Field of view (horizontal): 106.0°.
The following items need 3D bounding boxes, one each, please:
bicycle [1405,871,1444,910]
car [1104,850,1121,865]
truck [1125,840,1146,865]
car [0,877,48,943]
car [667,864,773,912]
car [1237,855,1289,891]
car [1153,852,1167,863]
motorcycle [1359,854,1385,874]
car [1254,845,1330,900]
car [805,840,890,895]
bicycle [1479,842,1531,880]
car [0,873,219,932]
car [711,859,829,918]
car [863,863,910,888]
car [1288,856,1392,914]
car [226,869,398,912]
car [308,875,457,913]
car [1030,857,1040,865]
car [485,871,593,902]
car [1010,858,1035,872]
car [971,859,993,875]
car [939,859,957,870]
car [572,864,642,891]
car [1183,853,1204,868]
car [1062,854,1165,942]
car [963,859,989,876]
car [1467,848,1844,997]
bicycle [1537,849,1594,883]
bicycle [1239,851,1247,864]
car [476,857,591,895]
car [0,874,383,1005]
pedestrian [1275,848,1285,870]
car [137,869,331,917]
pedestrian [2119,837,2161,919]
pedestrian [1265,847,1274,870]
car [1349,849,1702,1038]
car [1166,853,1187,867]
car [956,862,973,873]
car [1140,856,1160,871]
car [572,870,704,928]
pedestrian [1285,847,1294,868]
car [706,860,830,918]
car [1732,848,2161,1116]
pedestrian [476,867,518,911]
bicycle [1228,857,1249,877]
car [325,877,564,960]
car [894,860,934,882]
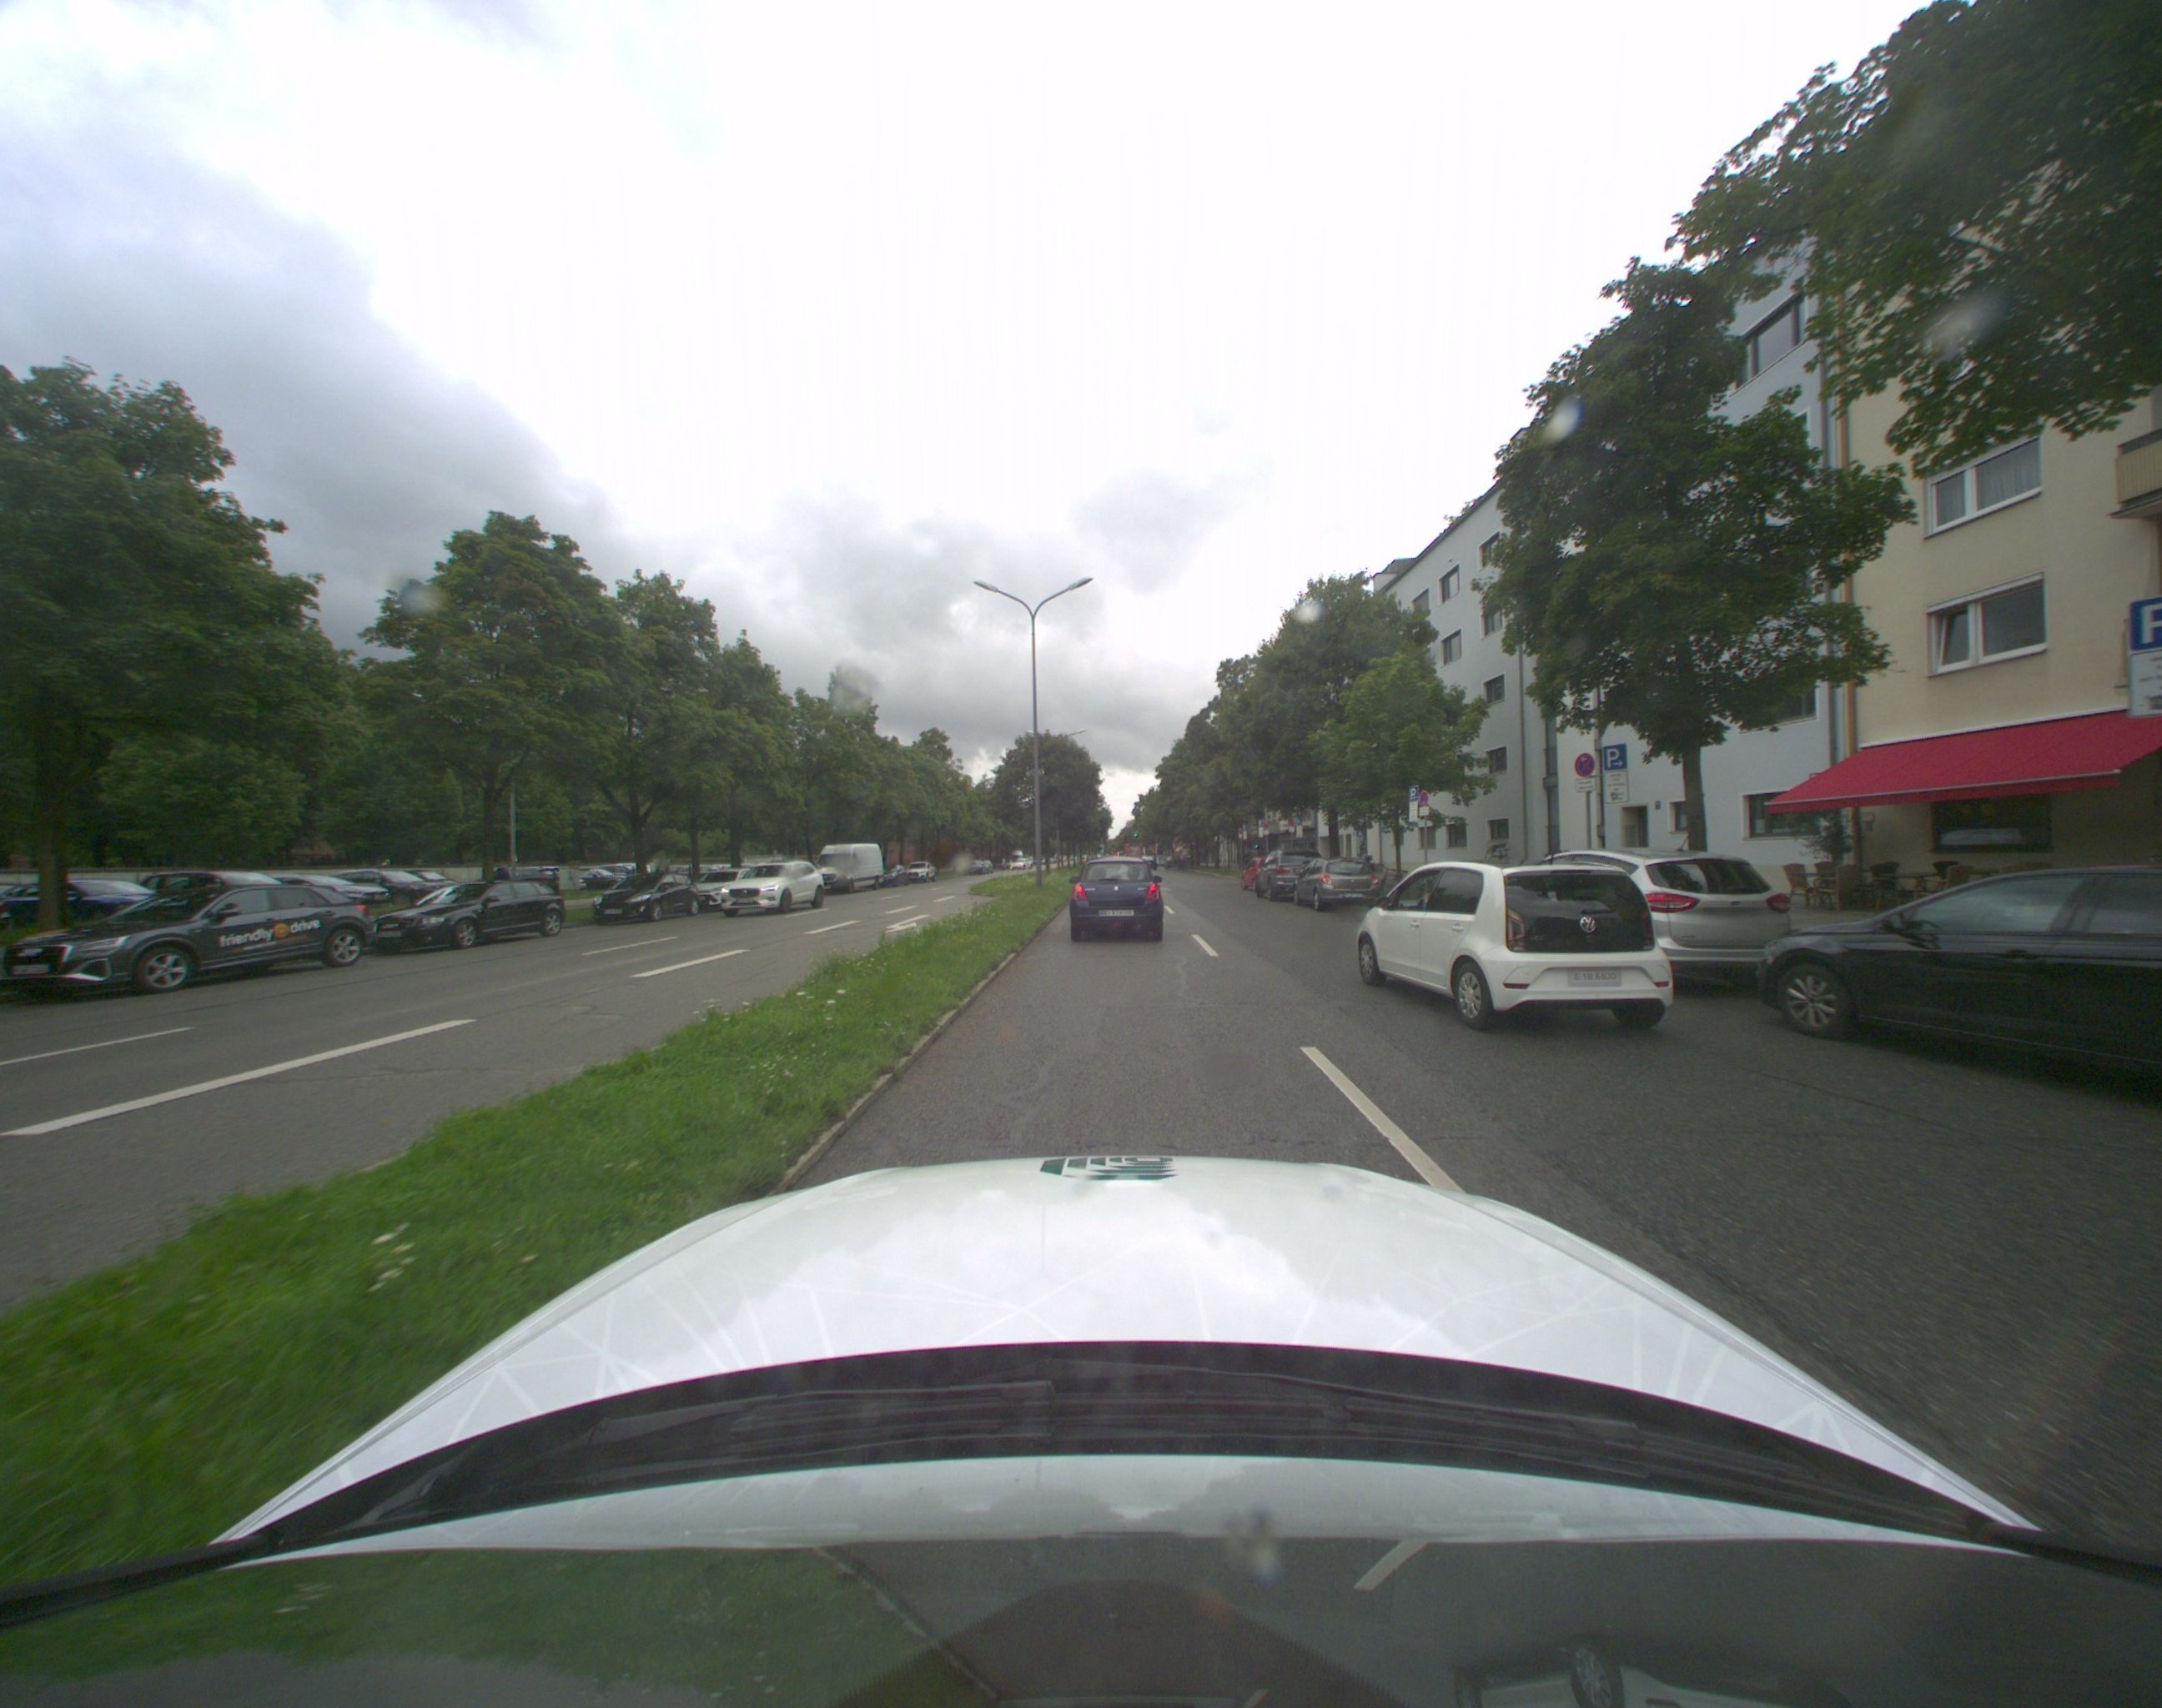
[{"bbox_3d":[9.043,0.945,21.494,0.384,0.947,1.676,-1,0,2],"label":"bicycle"},{"bbox_3d":[3.338,0.371,85.269,1.712,1.501,4.303,-1,0,2],"label":"car"},{"bbox_3d":[8.321,-0.224,125.839,3.029,3.557,13.685,-1,0,3],"label":"truck"},{"bbox_3d":[-26.346,1.304,18.111,4.122,1.442,2.000,-1,0,0],"label":"car"},{"bbox_3d":[-13.109,1.204,29.879,1.815,1.527,4.299,-3,-1,1],"label":"car"},{"bbox_3d":[7.822,0.767,35.345,1.515,1.441,4.002,-1,0,2],"label":"car"},{"bbox_3d":[10.931,0.466,112.985,1.648,1.452,3.999,-1,0,0],"label":"car"},{"bbox_3d":[16.517,0.530,46.333,0.758,1.086,2.201,-2,0,3],"label":"motorcycle"},{"bbox_3d":[7.252,0.588,28.421,1.820,1.746,4.514,-1,0,5],"label":"car"},{"bbox_3d":[-12.506,0.675,44.208,2.131,2.643,7.110,-3,0,3],"label":"car"},{"bbox_3d":[16.619,0.271,31.992,0.700,1.407,2.594,-3,0,2],"label":"bicycle"},{"bbox_3d":[-26.743,1.295,22.300,3.978,1.442,1.998,-1,0,-4],"label":"car"},{"bbox_3d":[-9.850,1.034,26.208,1.843,1.600,4.405,-3,0,3],"label":"car"},{"bbox_3d":[-12.238,1.325,51.551,1.850,1.491,4.252,-1,-1,1],"label":"car"},{"bbox_3d":[7.339,0.825,23.452,1.823,1.522,3.771,-1,0,1],"label":"car"},{"bbox_3d":[-25.852,1.193,27.493,3.980,1.284,1.738,-1,0,-5],"label":"car"},{"bbox_3d":[-26.170,1.474,30.609,3.980,1.258,1.687,-1,0,-5],"label":"car"},{"bbox_3d":[-9.520,1.400,167.935,1.700,1.534,4.002,-1,0,2],"label":"car"},{"bbox_3d":[-26.138,1.540,39.355,3.974,1.338,1.814,-1,0,0],"label":"car"},{"bbox_3d":[-7.741,1.465,108.181,1.746,1.537,4.335,-4,0,19],"label":"car"},{"bbox_3d":[-10.564,1.414,87.340,1.632,1.537,4.317,-4,0,2],"label":"car"},{"bbox_3d":[-19.043,1.467,116.863,1.807,1.536,4.299,0,0,1],"label":"car"},{"bbox_3d":[-38.482,1.908,66.227,4.489,2.034,2.001,-1,0,1],"label":"car"},{"bbox_3d":[13.217,0.731,95.882,1.985,1.643,4.336,-1,0,3],"label":"car"},{"bbox_3d":[0.673,0.767,16.101,1.745,1.505,4.003,-1,0,3],"label":"car"},{"bbox_3d":[-10.620,1.363,82.612,1.880,1.537,4.314,-4,0,0],"label":"car"},{"bbox_3d":[7.023,0.713,10.702,1.823,1.522,4.524,-1,0,1],"label":"car"},{"bbox_3d":[16.412,0.403,27.647,0.619,1.046,2.197,-5,0,3],"label":"bicycle"},{"bbox_3d":[17.709,0.391,88.999,0.577,1.463,1.689,-1,0,3],"label":"bicycle"},{"bbox_3d":[-24.572,0.963,36.651,3.969,1.570,1.816,-1,0,3],"label":"car"},{"bbox_3d":[-13.710,1.179,12.760,1.813,1.599,4.117,-1,0,4],"label":"car"},{"bbox_3d":[15.538,0.391,63.690,0.546,1.629,0.641,-3,0,2],"label":"pedestrian"},{"bbox_3d":[-26.095,1.174,25.199,3.978,1.284,1.739,-1,0,-4],"label":"car"},{"bbox_3d":[15.647,0.336,11.647,0.740,1.163,0.647,-1,0,2],"label":"pedestrian"},{"bbox_3d":[14.777,0.353,63.738,0.498,1.733,0.733,-1,0,2],"label":"pedestrian"},{"bbox_3d":[4.150,0.722,8.285,1.681,1.490,3.433,-1,0,-1],"label":"car"},{"bbox_3d":[10.336,0.639,88.395,1.985,1.452,4.003,-1,0,2],"label":"car"},{"bbox_3d":[-18.510,2.133,129.507,1.807,1.536,4.442,0,0,1],"label":"car"},{"bbox_3d":[7.265,1.009,85.761,1.814,1.477,4.693,1,0,2],"label":"car"},{"bbox_3d":[-13.213,1.296,24.582,1.817,1.447,3.997,-3,0,-2],"label":"car"},{"bbox_3d":[16.442,0.276,64.238,0.539,1.640,0.725,-1,0,2],"label":"pedestrian"},{"bbox_3d":[-9.980,1.044,26.419,2.017,1.620,4.686,-2,0,2],"label":"car"},{"bbox_3d":[6.886,0.708,5.467,1.825,1.473,3.884,-1,0,-3],"label":"car"},{"bbox_3d":[-20.658,1.229,28.821,0.791,1.495,0.857,-2,0,2],"label":"pedestrian"},{"bbox_3d":[10.340,0.846,53.578,0.455,1.256,2.138,-1,0,-16],"label":"bicycle"},{"bbox_3d":[-13.615,1.316,17.790,1.813,1.409,4.005,-3,0,4],"label":"car"},{"bbox_3d":[-11.805,1.216,57.825,1.850,1.491,4.142,-1,-1,1],"label":"car"}]
